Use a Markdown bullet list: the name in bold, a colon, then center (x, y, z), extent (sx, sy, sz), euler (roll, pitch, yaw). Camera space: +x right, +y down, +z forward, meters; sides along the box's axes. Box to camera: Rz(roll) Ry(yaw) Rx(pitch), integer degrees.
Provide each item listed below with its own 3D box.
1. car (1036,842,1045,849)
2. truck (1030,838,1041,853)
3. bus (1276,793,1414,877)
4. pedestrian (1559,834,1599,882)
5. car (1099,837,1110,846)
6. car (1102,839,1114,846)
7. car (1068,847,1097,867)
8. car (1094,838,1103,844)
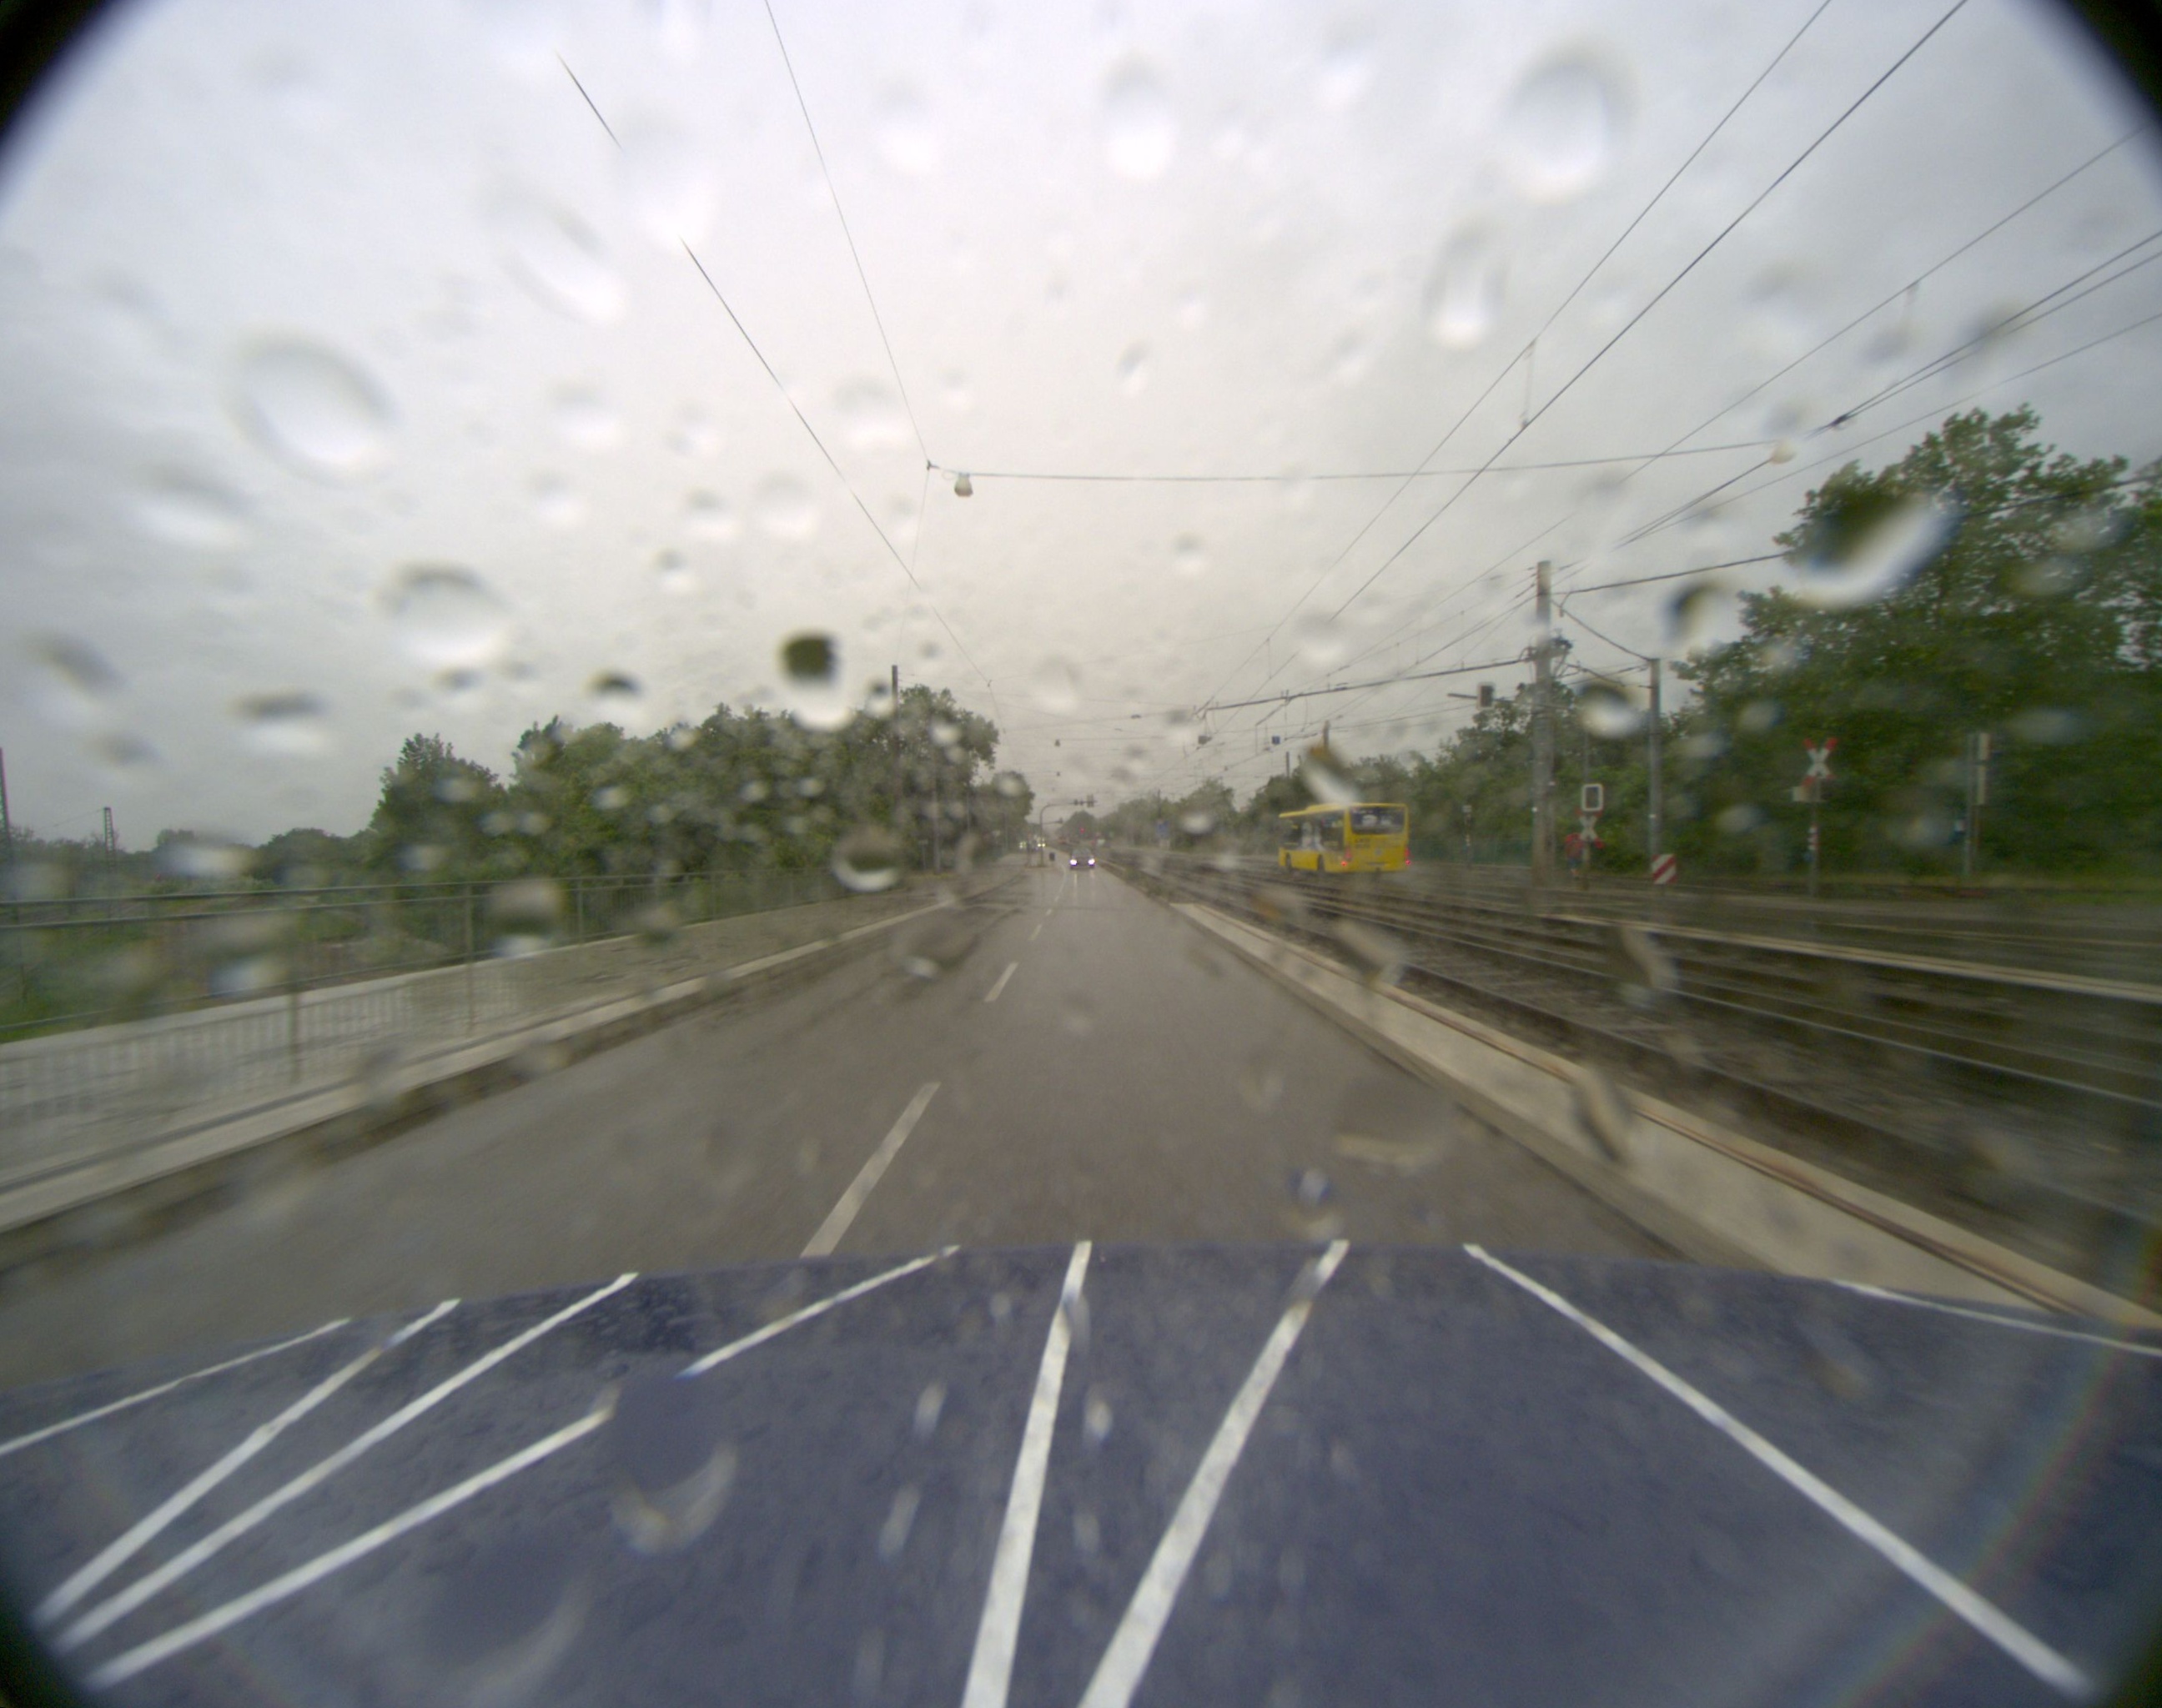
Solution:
- **car**: center (-8.811, -1.867, 165.535), extent (1.999, 1.395, 4.194), euler (-3, 1, -4)
- **truck**: center (-12.184, -2.334, 203.148), extent (2.568, 3.848, 7.842), euler (-3, 1, -4)
- **bus**: center (11.816, -0.716, 35.430), extent (2.715, 3.321, 10.993), euler (0, 0, 1)
- **pedestrian**: center (19.675, 0.153, 30.024), extent (0.866, 1.809, 1.042), euler (-3, 2, -1)
- **car**: center (5.901, -3.160, 191.866), extent (1.999, 2.032, 5.025), euler (-3, 2, -4)
- **car**: center (6.155, -2.648, 174.766), extent (1.999, 1.639, 5.368), euler (-3, 1, -4)
- **car**: center (0.084, 0.212, 61.770), extent (1.999, 1.497, 4.194), euler (-3, 1, -4)
- **car**: center (5.001, -3.659, 216.405), extent (1.999, 1.639, 5.368), euler (-3, 1, -4)
